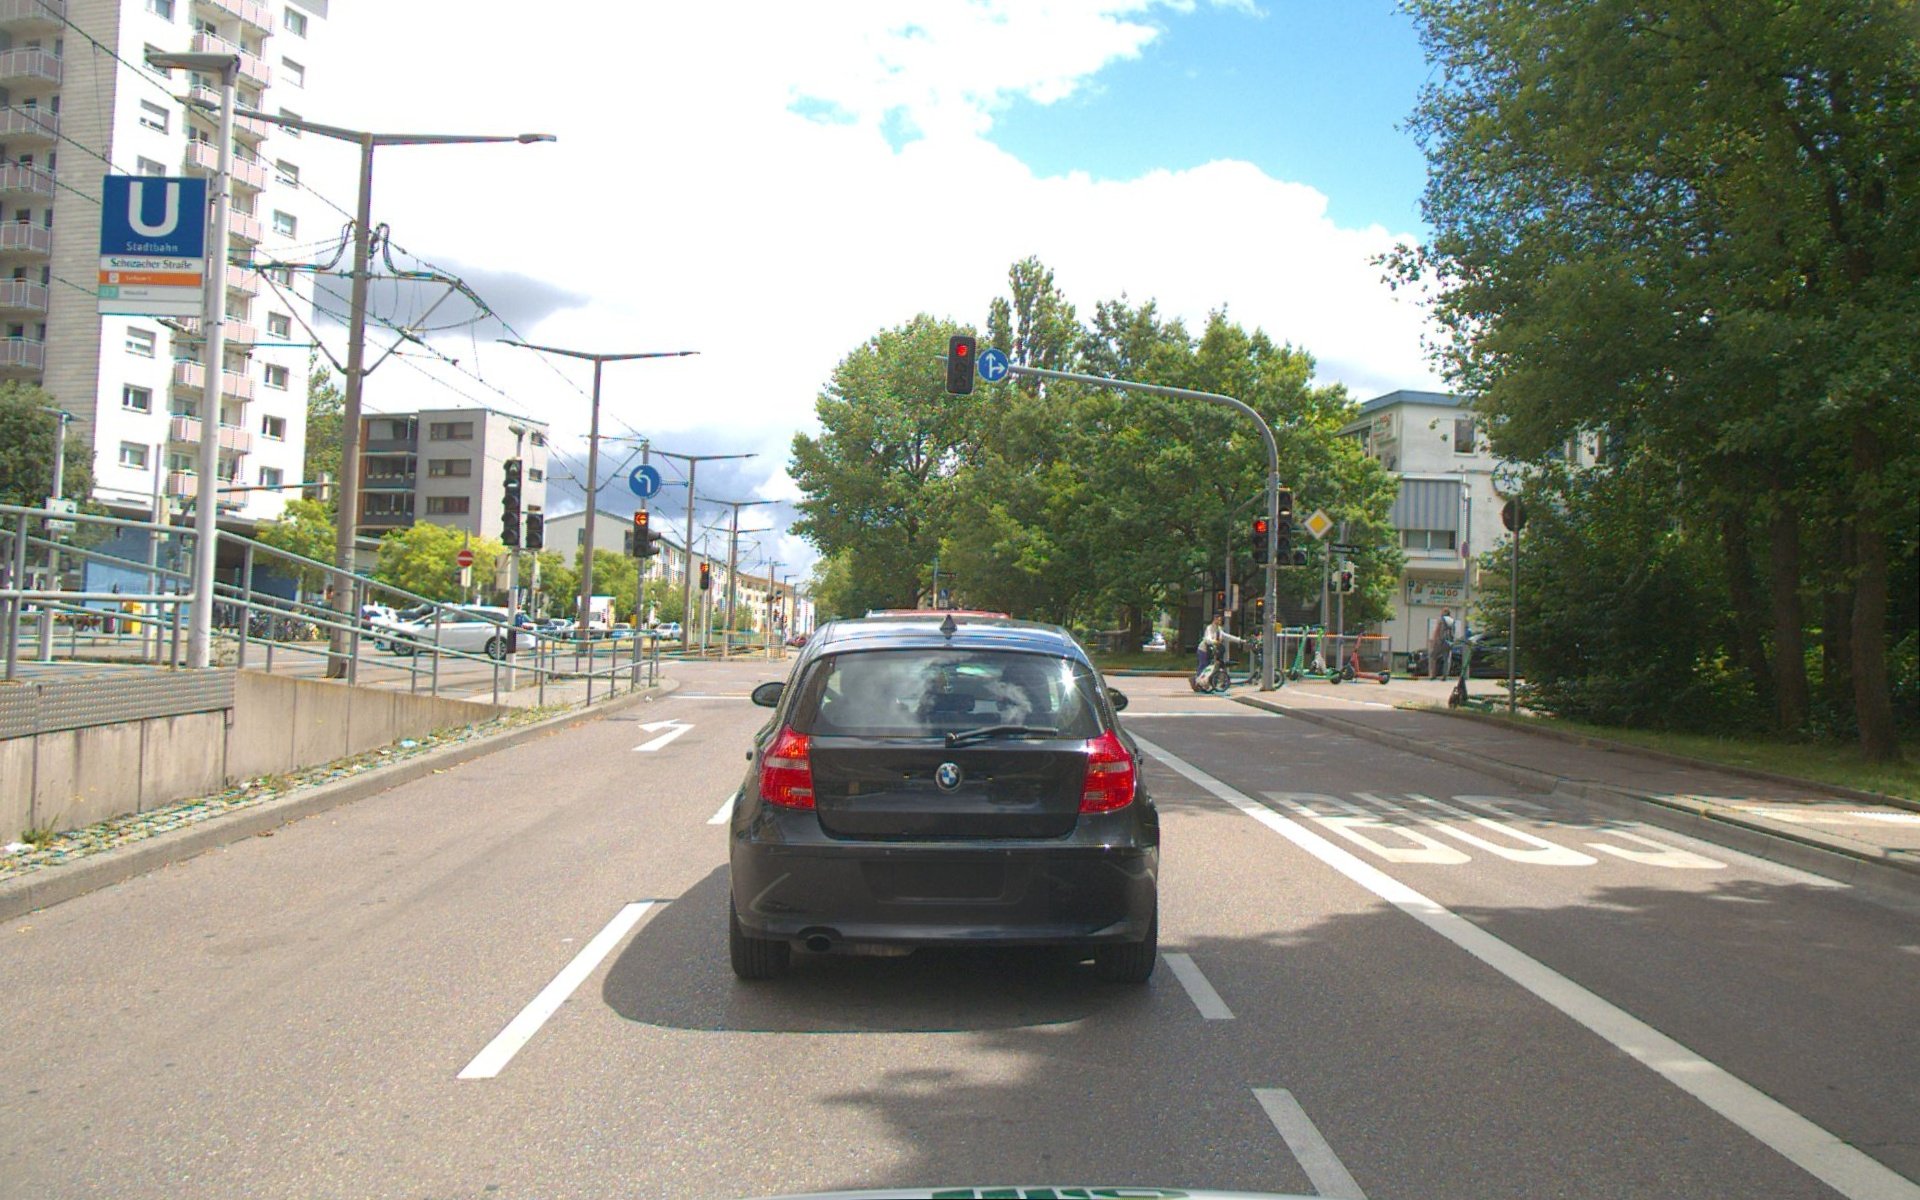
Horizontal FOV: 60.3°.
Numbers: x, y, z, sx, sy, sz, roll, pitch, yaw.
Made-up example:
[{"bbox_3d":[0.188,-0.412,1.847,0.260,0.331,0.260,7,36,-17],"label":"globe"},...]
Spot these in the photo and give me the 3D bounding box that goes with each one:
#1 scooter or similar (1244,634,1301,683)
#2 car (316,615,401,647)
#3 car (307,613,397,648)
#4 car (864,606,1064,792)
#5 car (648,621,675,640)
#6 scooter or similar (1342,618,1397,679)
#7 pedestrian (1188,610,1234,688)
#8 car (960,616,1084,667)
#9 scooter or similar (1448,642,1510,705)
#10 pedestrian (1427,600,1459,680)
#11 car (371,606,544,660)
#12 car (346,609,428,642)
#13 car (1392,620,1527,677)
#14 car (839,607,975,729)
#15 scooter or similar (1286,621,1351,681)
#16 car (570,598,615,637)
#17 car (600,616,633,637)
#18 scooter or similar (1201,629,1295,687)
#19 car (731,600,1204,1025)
[{"bbox_3d":[6.237,1.164,32.962,1.102,0.974,0.299,1,-1,-17],"label":"scooter or similar"},{"bbox_3d":[-28.572,1.468,78.660,3.537,1.488,1.613,1,0,-9],"label":"car"},{"bbox_3d":[-27.333,1.359,74.420,3.537,1.488,1.613,1,0,-9],"label":"car"},{"bbox_3d":[0.030,0.789,14.858,1.562,1.443,3.516,1,0,0],"label":"car"},{"bbox_3d":[-27.325,2.753,151.368,1.927,1.624,3.997,1,0,-3],"label":"car"},{"bbox_3d":[8.688,1.038,35.114,1.087,1.280,0.331,1,-1,-13],"label":"scooter or similar"},{"bbox_3d":[4.799,0.923,31.578,0.846,1.468,0.799,1,0,9],"label":"pedestrian"},{"bbox_3d":[1.886,1.264,50.502,3.537,1.488,1.613,1,0,-9],"label":"car"},{"bbox_3d":[9.379,1.324,29.893,1.133,1.118,0.329,1,-1,-25],"label":"scooter or similar"},{"bbox_3d":[11.420,0.949,39.077,0.600,1.821,0.569,4,-1,18],"label":"pedestrian"},{"bbox_3d":[-14.554,0.948,48.123,4.552,1.506,1.996,1,0,-9],"label":"car"},{"bbox_3d":[-28.592,1.263,82.590,3.537,1.488,1.613,3,-1,-9],"label":"car"},{"bbox_3d":[14.977,1.444,49.623,3.515,1.629,1.706,1,-1,-13],"label":"car"},{"bbox_3d":[-0.707,0.834,21.793,1.621,1.443,3.515,1,0,-2],"label":"car"},{"bbox_3d":[7.425,1.056,34.257,1.267,1.210,0.383,1,-1,-17],"label":"scooter or similar"},{"bbox_3d":[-26.023,1.215,117.365,2.096,2.686,5.356,1,0,-2],"label":"car"},{"bbox_3d":[-27.166,2.095,131.014,1.927,1.624,3.997,1,0,-3],"label":"car"},{"bbox_3d":[5.424,1.097,31.159,1.752,1.069,0.408,1,0,-17],"label":"scooter or similar"},{"bbox_3d":[0.058,0.741,7.496,1.620,1.443,3.517,1,0,1],"label":"car"}]
